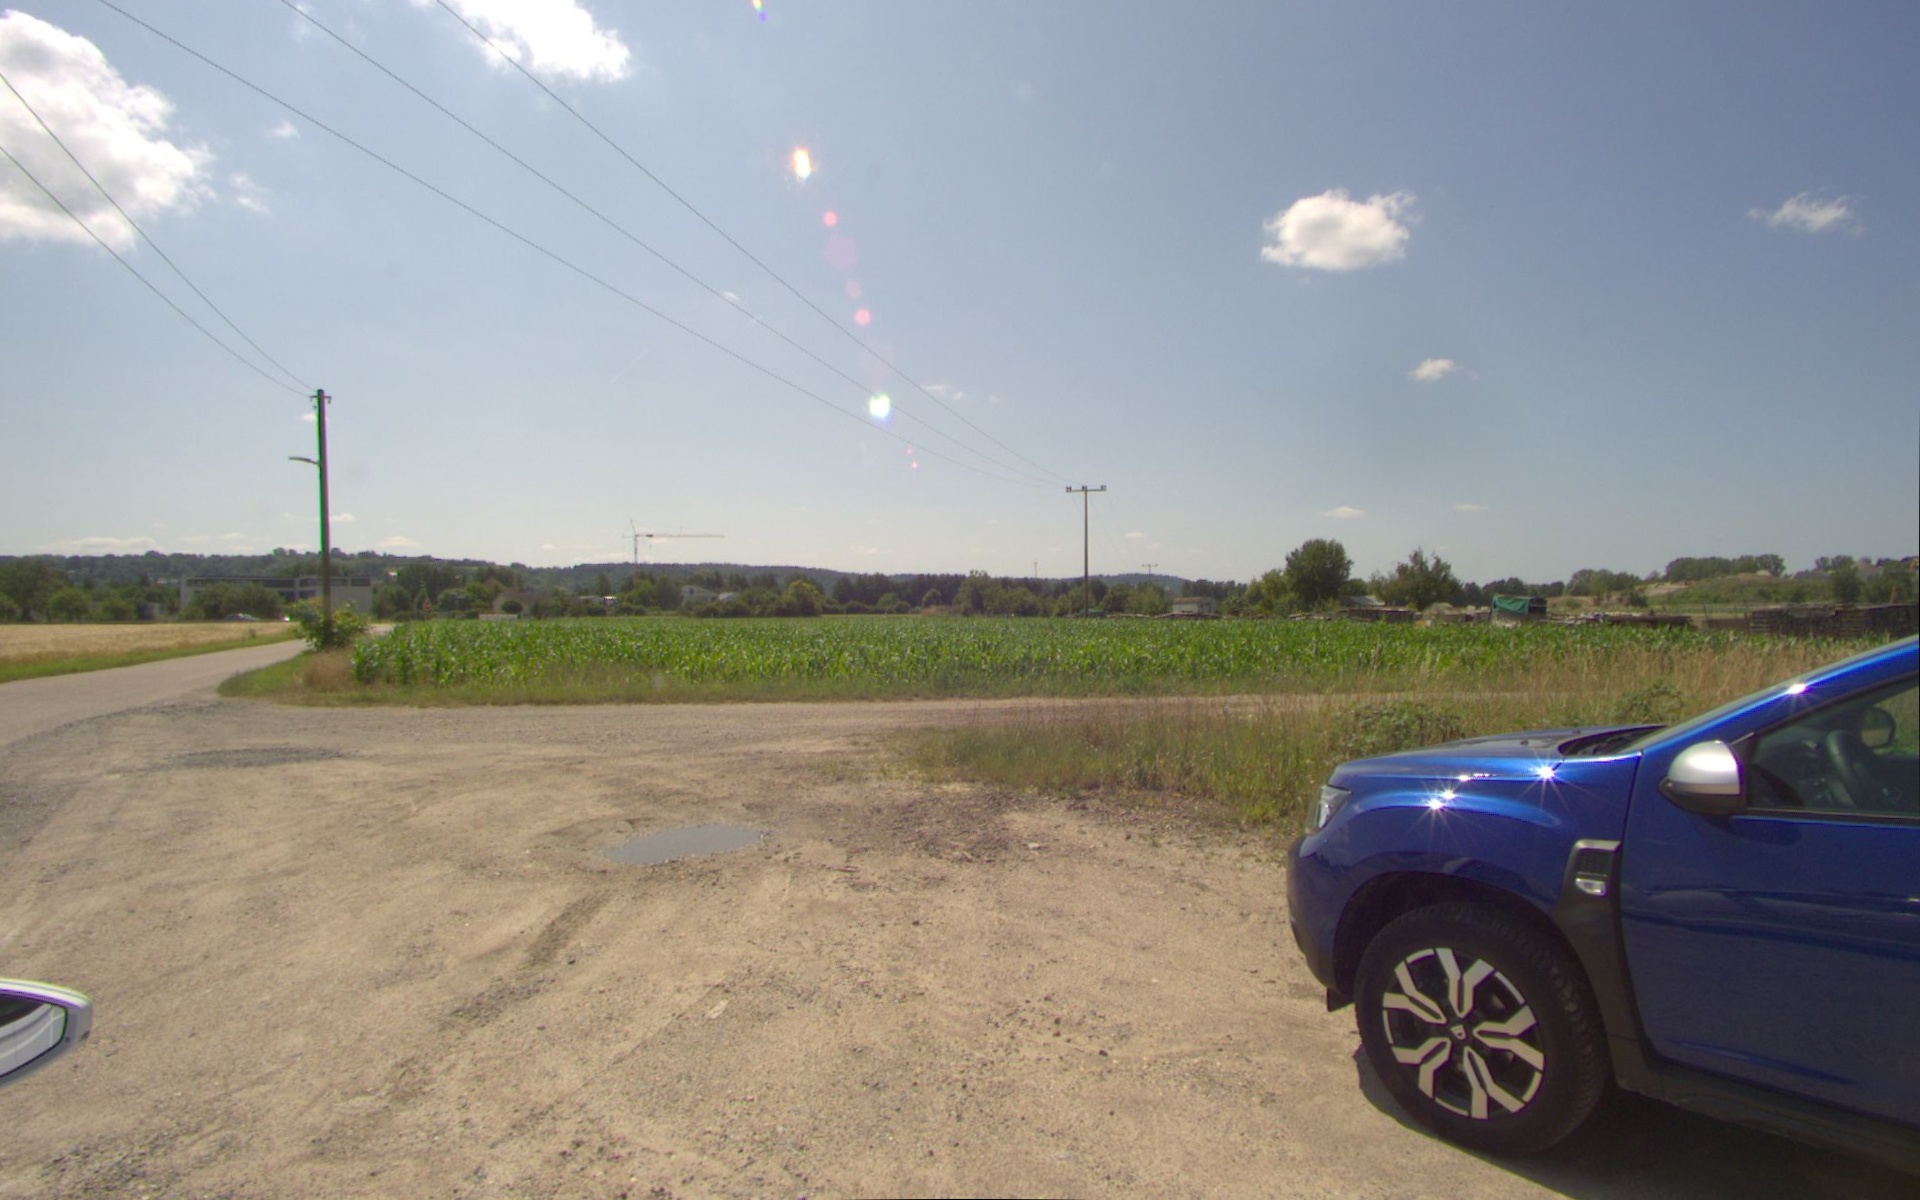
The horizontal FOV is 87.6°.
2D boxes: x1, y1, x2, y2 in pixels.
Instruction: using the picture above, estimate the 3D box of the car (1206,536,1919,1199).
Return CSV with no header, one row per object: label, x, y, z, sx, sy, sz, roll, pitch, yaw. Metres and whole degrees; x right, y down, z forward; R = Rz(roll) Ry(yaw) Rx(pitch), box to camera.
car,2.956,0.717,2.387,1.843,1.682,4.423,1,-2,-39
